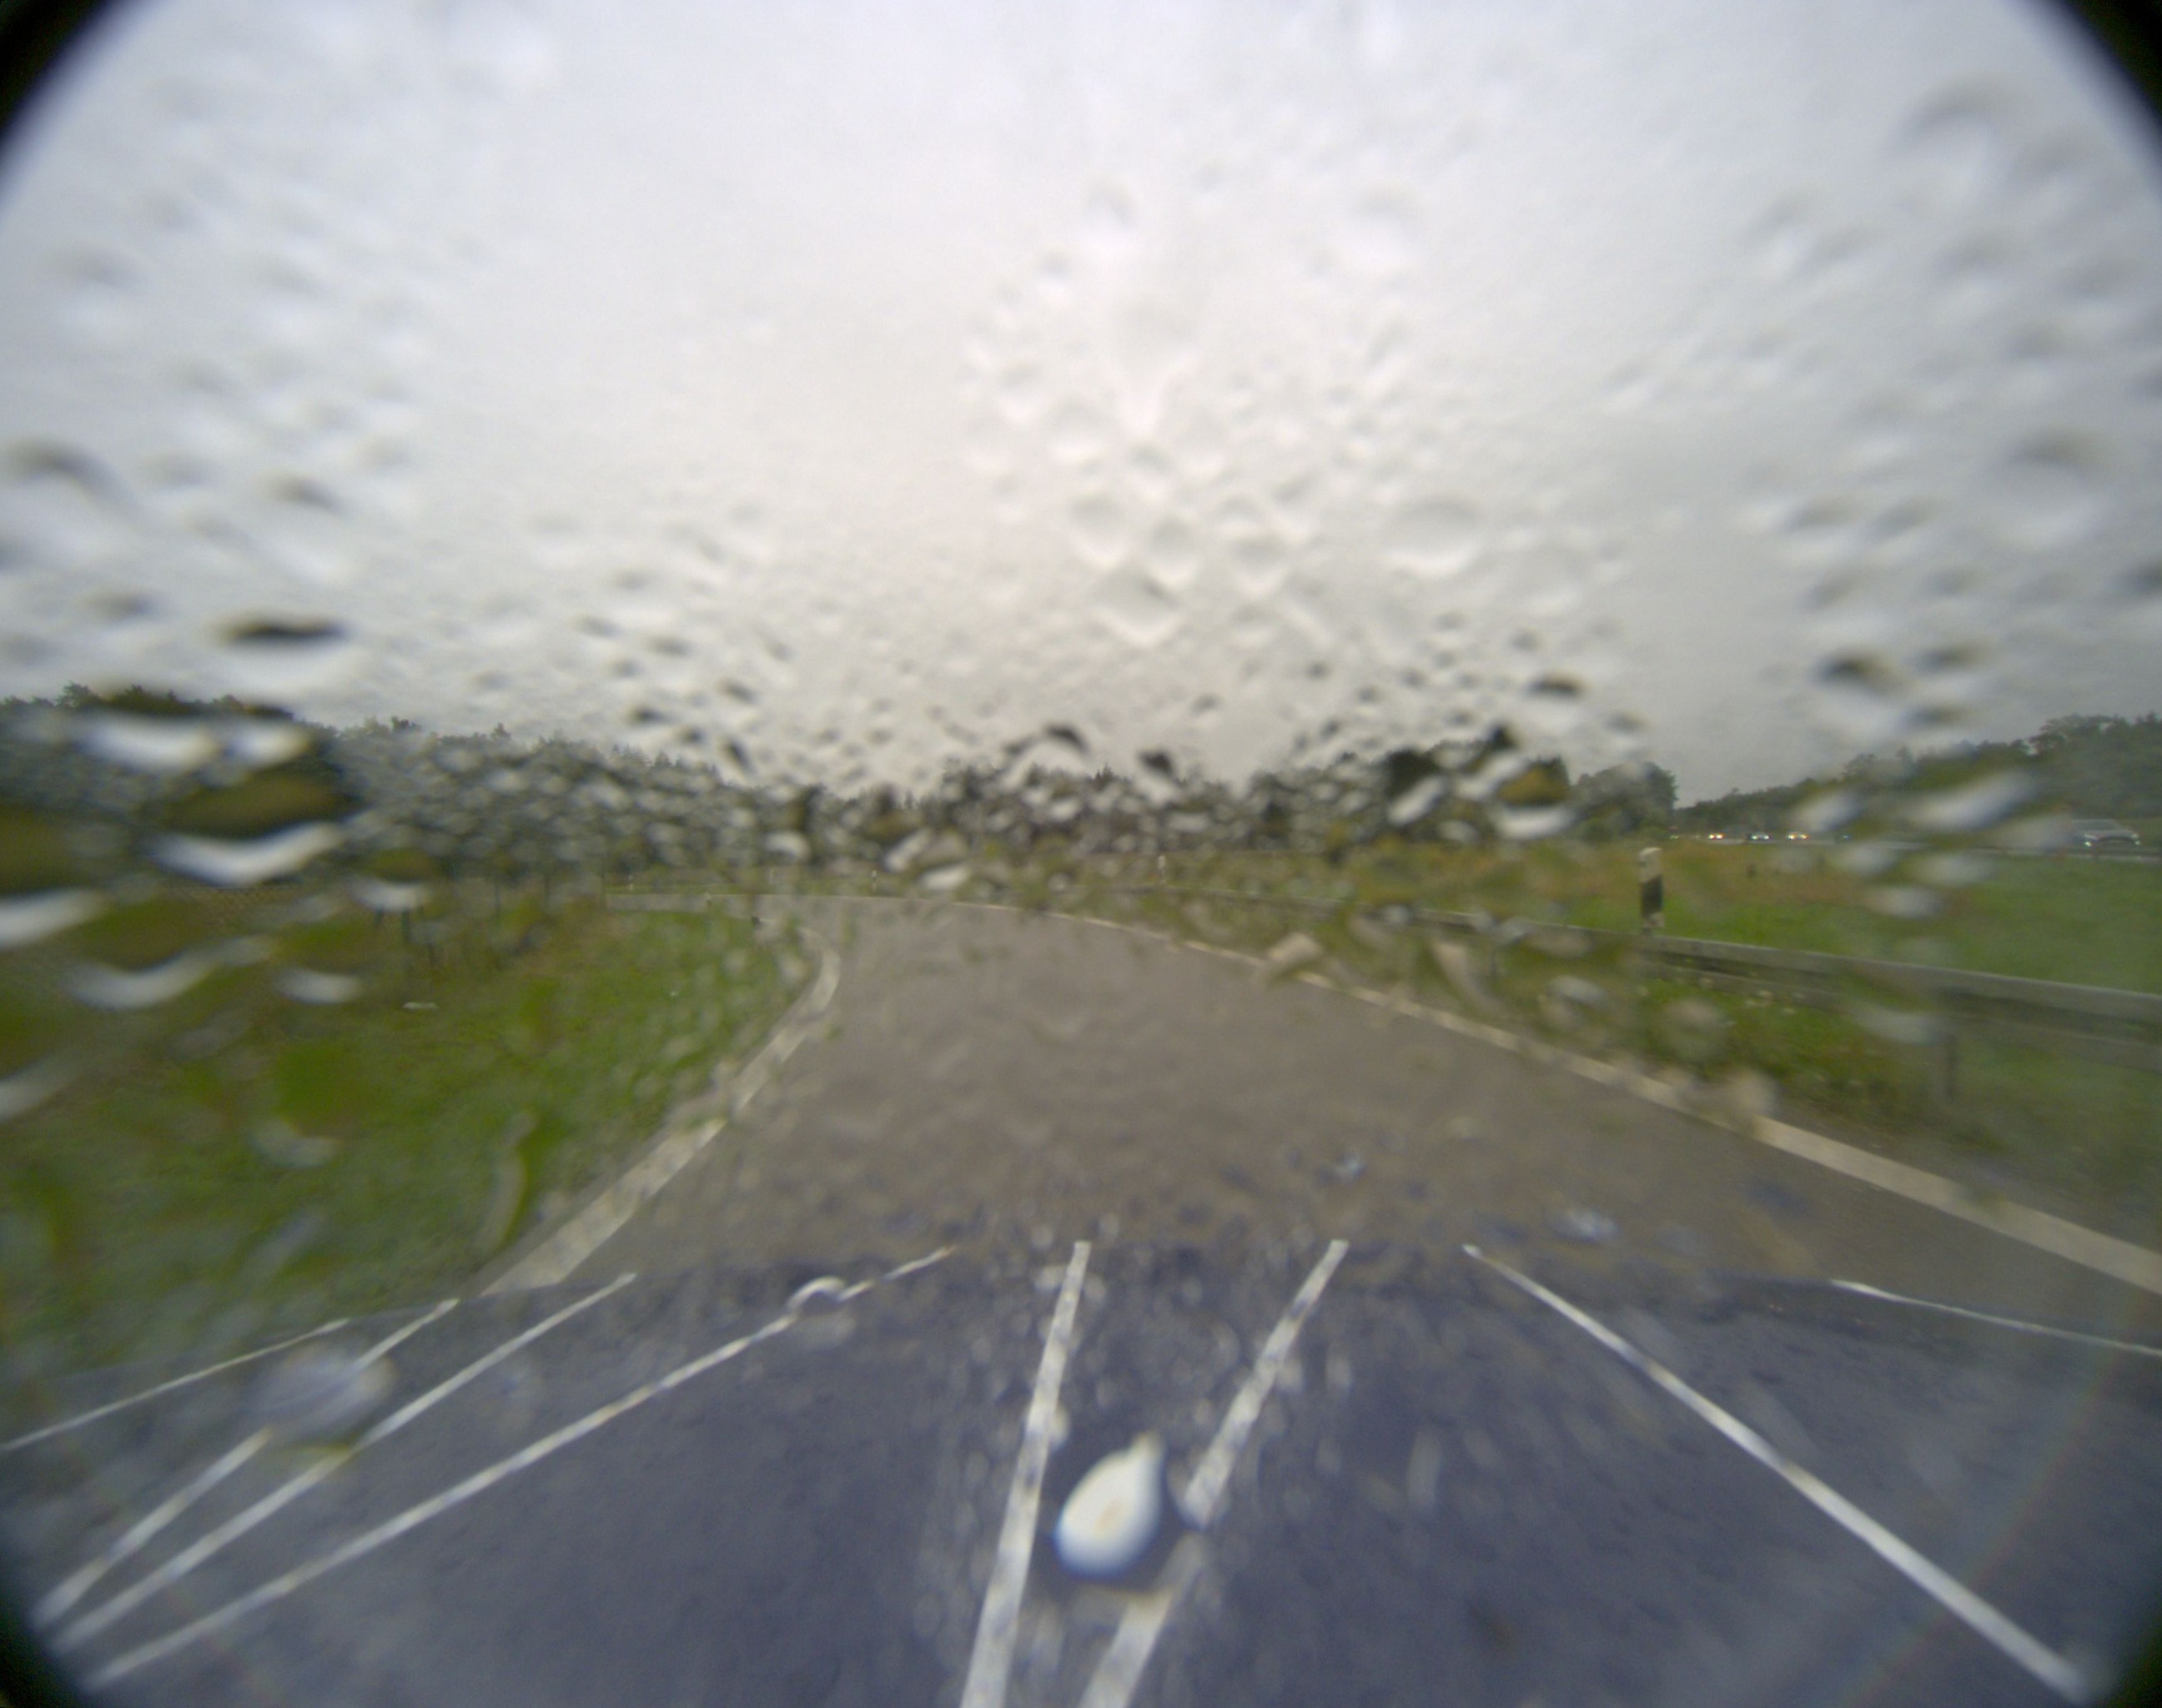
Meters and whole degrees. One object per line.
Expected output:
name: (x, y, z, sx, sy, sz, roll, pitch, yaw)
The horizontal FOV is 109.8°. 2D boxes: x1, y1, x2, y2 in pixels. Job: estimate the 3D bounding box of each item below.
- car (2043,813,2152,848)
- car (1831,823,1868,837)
car: (51.415, -1.172, 38.576, 1.863, 1.625, 5.111, -1, 1, 36)
car: (81.550, -2.581, 80.697, 2.094, 1.446, 4.604, 0, 2, 37)
